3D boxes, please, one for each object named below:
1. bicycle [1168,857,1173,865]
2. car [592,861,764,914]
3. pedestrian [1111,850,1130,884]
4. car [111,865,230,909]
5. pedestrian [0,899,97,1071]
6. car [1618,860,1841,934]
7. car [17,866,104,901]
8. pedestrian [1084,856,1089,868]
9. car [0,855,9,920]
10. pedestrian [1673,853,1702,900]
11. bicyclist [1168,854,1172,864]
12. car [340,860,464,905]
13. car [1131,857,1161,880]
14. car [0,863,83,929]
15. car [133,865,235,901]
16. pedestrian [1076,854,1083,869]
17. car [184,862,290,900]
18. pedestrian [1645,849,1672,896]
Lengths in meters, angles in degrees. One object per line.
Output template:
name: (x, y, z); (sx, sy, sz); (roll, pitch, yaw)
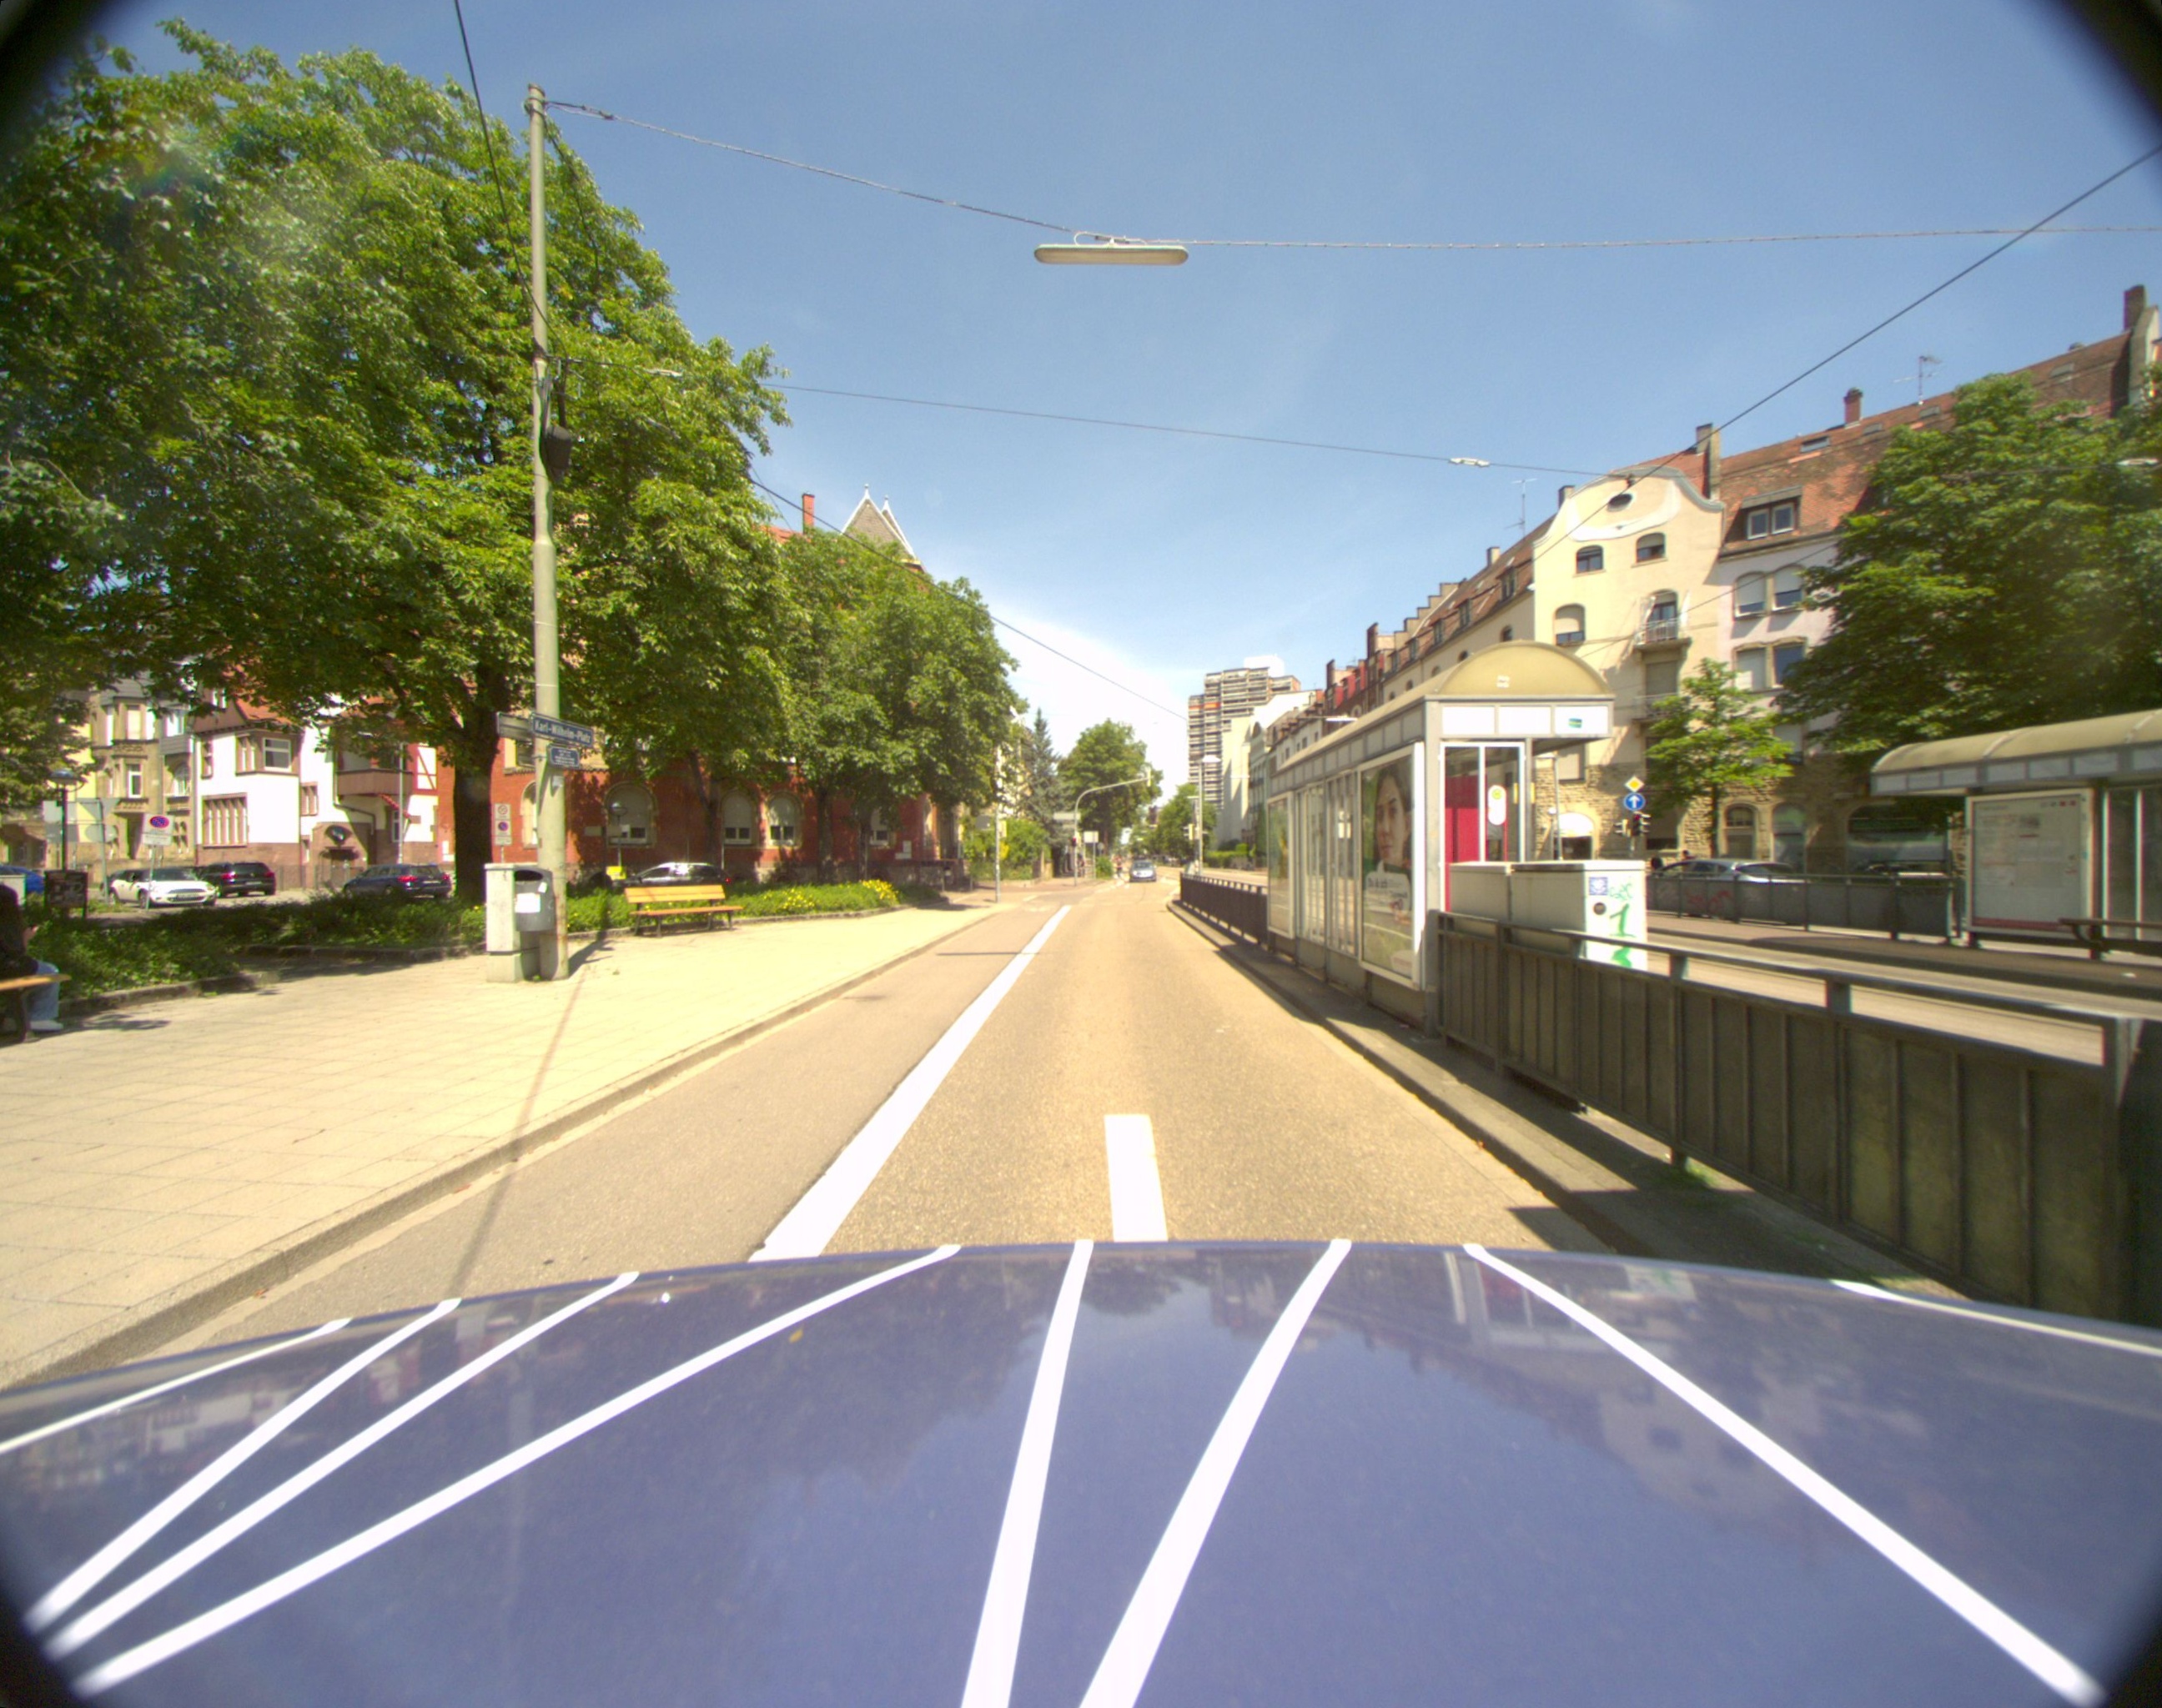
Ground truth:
bicycle: (16.828, 1.372, 143.078); (0.644, 1.503, 1.970); (-2, 1, -2)
car: (-13.850, 1.107, 26.411); (5.041, 1.474, 1.934); (-3, 1, -26)
pedestrian: (2.108, 0.687, 40.898); (0.839, 1.813, 0.672); (0, 0, -17)
car: (-32.849, 1.171, 27.412); (3.643, 1.497, 1.708); (-1, 0, 22)
pedestrian: (-7.747, 0.910, 5.419); (0.566, 1.136, 0.725); (0, 1, -16)
car: (14.834, 0.906, 17.728); (1.812, 1.386, 3.999); (-2, 1, 1)
car: (-59.183, 1.710, 44.079); (4.299, 1.862, 1.941); (-2, 1, 23)
pedestrian: (0.864, 1.221, 112.548); (0.686, 1.732, 0.660); (-2, 1, 3)
car: (-37.664, 1.200, 23.795); (1.934, 2.178, 4.315); (-2, 1, 23)
pedestrian: (20.283, 0.749, 25.428); (0.594, 1.542, 0.474); (0, 0, -1)
bicyclist: (16.801, 0.918, 143.061); (0.644, 1.864, 0.716); (-2, 1, -2)
car: (-27.048, 1.132, 30.287); (4.299, 1.608, 1.941); (-2, 1, 23)
car: (4.364, 0.936, 51.005); (1.895, 1.372, 4.001); (-2, 1, 5)
car: (-32.848, 1.300, 22.027); (1.934, 1.869, 4.315); (-2, 1, 23)
car: (-44.154, 1.430, 37.412); (4.299, 1.608, 1.941); (-2, 1, 23)
pedestrian: (-0.135, 0.848, 83.505); (0.702, 1.645, 0.665); (0, 0, 1)
car: (-39.594, 1.274, 35.666); (4.299, 1.608, 1.941); (-2, 1, 23)
pedestrian: (20.141, 0.646, 26.504); (0.594, 1.637, 0.474); (0, 0, 1)
